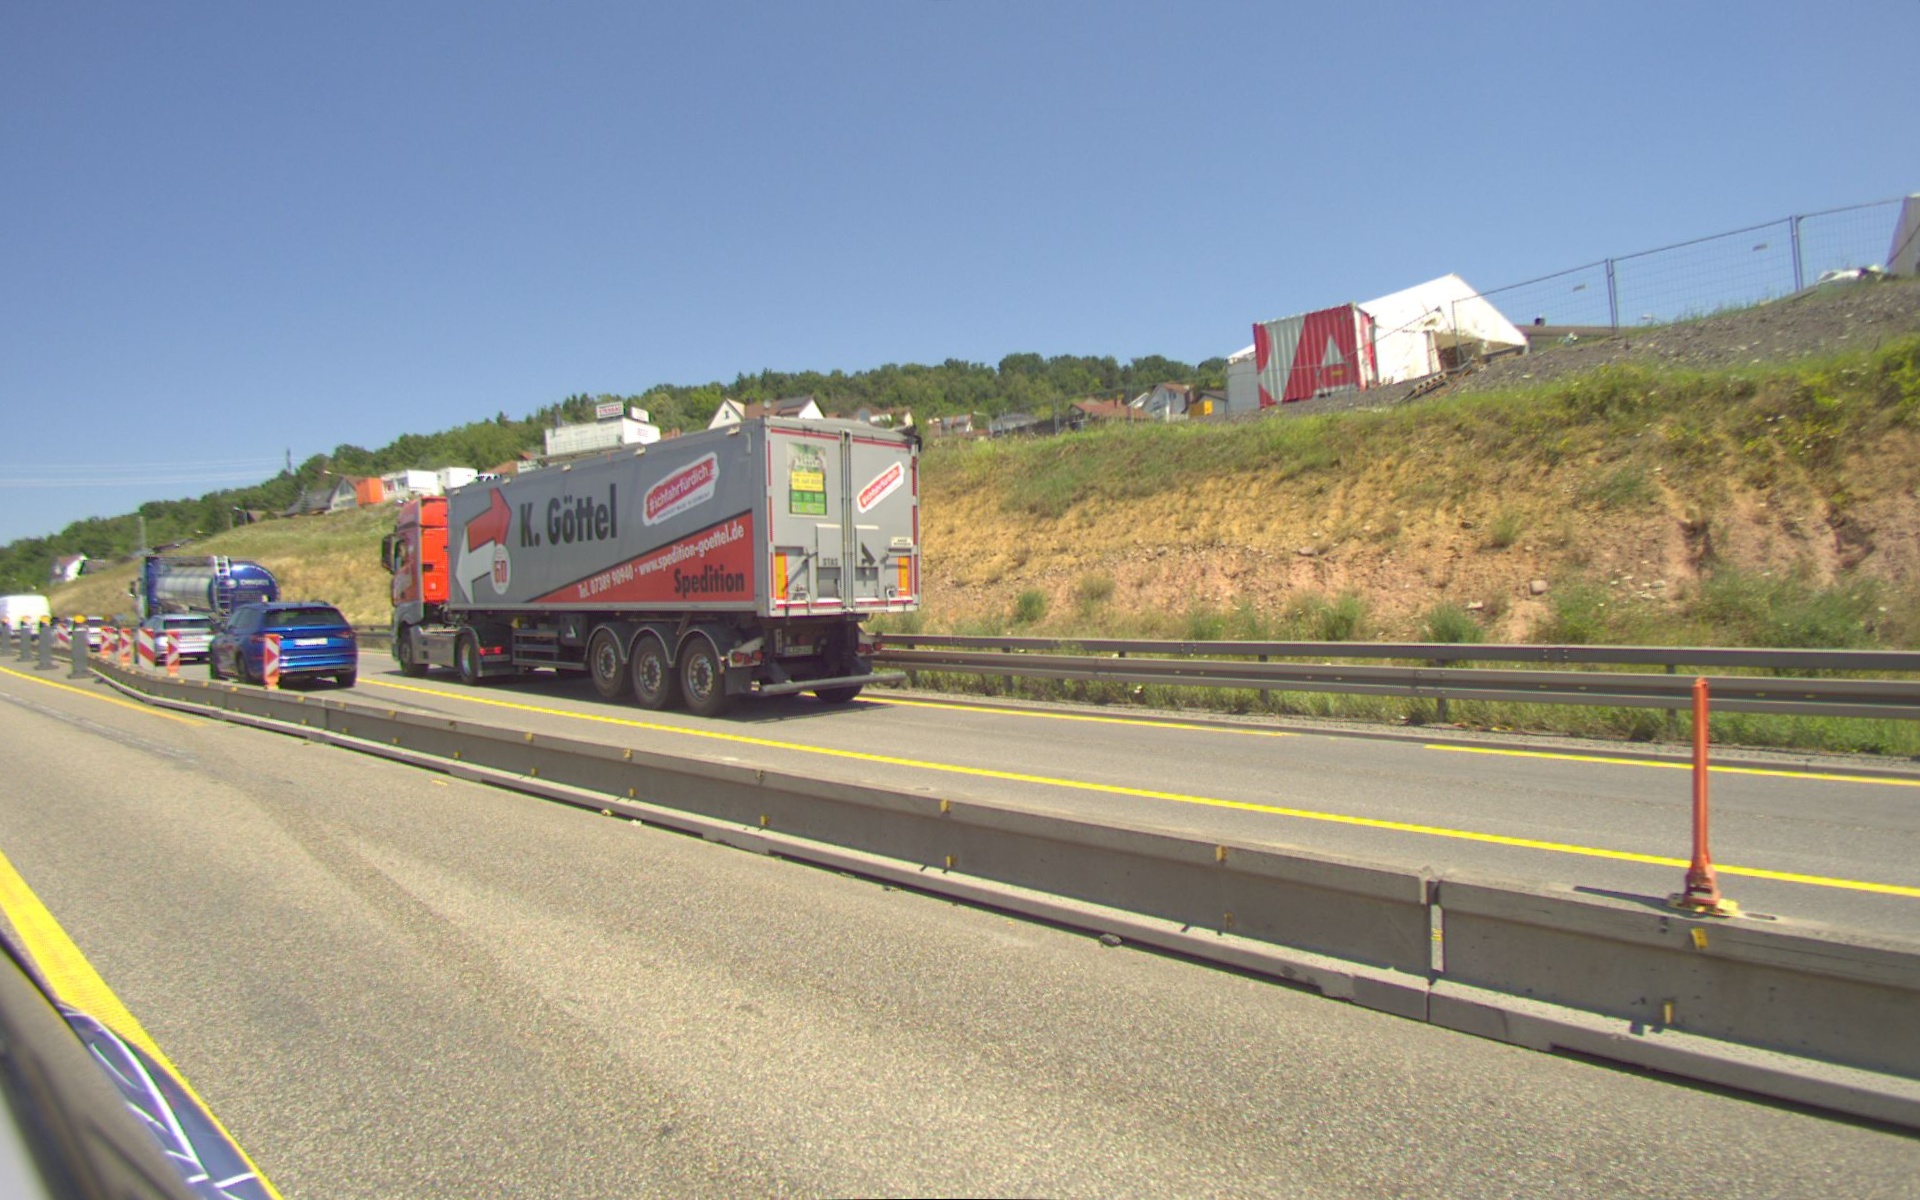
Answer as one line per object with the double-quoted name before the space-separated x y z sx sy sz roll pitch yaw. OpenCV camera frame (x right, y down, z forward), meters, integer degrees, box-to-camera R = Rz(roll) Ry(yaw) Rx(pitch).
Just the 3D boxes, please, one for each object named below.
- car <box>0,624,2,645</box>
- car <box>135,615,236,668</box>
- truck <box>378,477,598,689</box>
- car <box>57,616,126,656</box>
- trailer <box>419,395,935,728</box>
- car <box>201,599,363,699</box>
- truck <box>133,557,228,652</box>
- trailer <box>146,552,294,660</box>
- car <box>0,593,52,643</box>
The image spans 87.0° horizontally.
"car" -64.210 2.281 66.186 4.386 1.387 1.815 -1 0 40
"car" -23.204 1.195 30.250 1.813 1.440 4.537 -1 0 -45
"truck" -10.027 -0.319 21.254 2.555 3.857 5.385 -1 0 -44
"car" -36.600 1.482 42.601 1.813 1.530 4.846 -1 0 -45
"trailer" -5.501 -0.433 16.767 11.825 3.844 2.626 0 0 44
"car" -13.294 0.869 19.722 1.812 1.676 4.688 -1 0 -44
"truck" -34.982 0.185 45.391 4.587 4.006 2.555 -1 0 42
"trailer" -30.255 0.237 41.096 11.271 3.899 2.572 -1 0 42
"car" -52.920 1.012 56.649 6.622 2.649 2.184 -1 0 40
